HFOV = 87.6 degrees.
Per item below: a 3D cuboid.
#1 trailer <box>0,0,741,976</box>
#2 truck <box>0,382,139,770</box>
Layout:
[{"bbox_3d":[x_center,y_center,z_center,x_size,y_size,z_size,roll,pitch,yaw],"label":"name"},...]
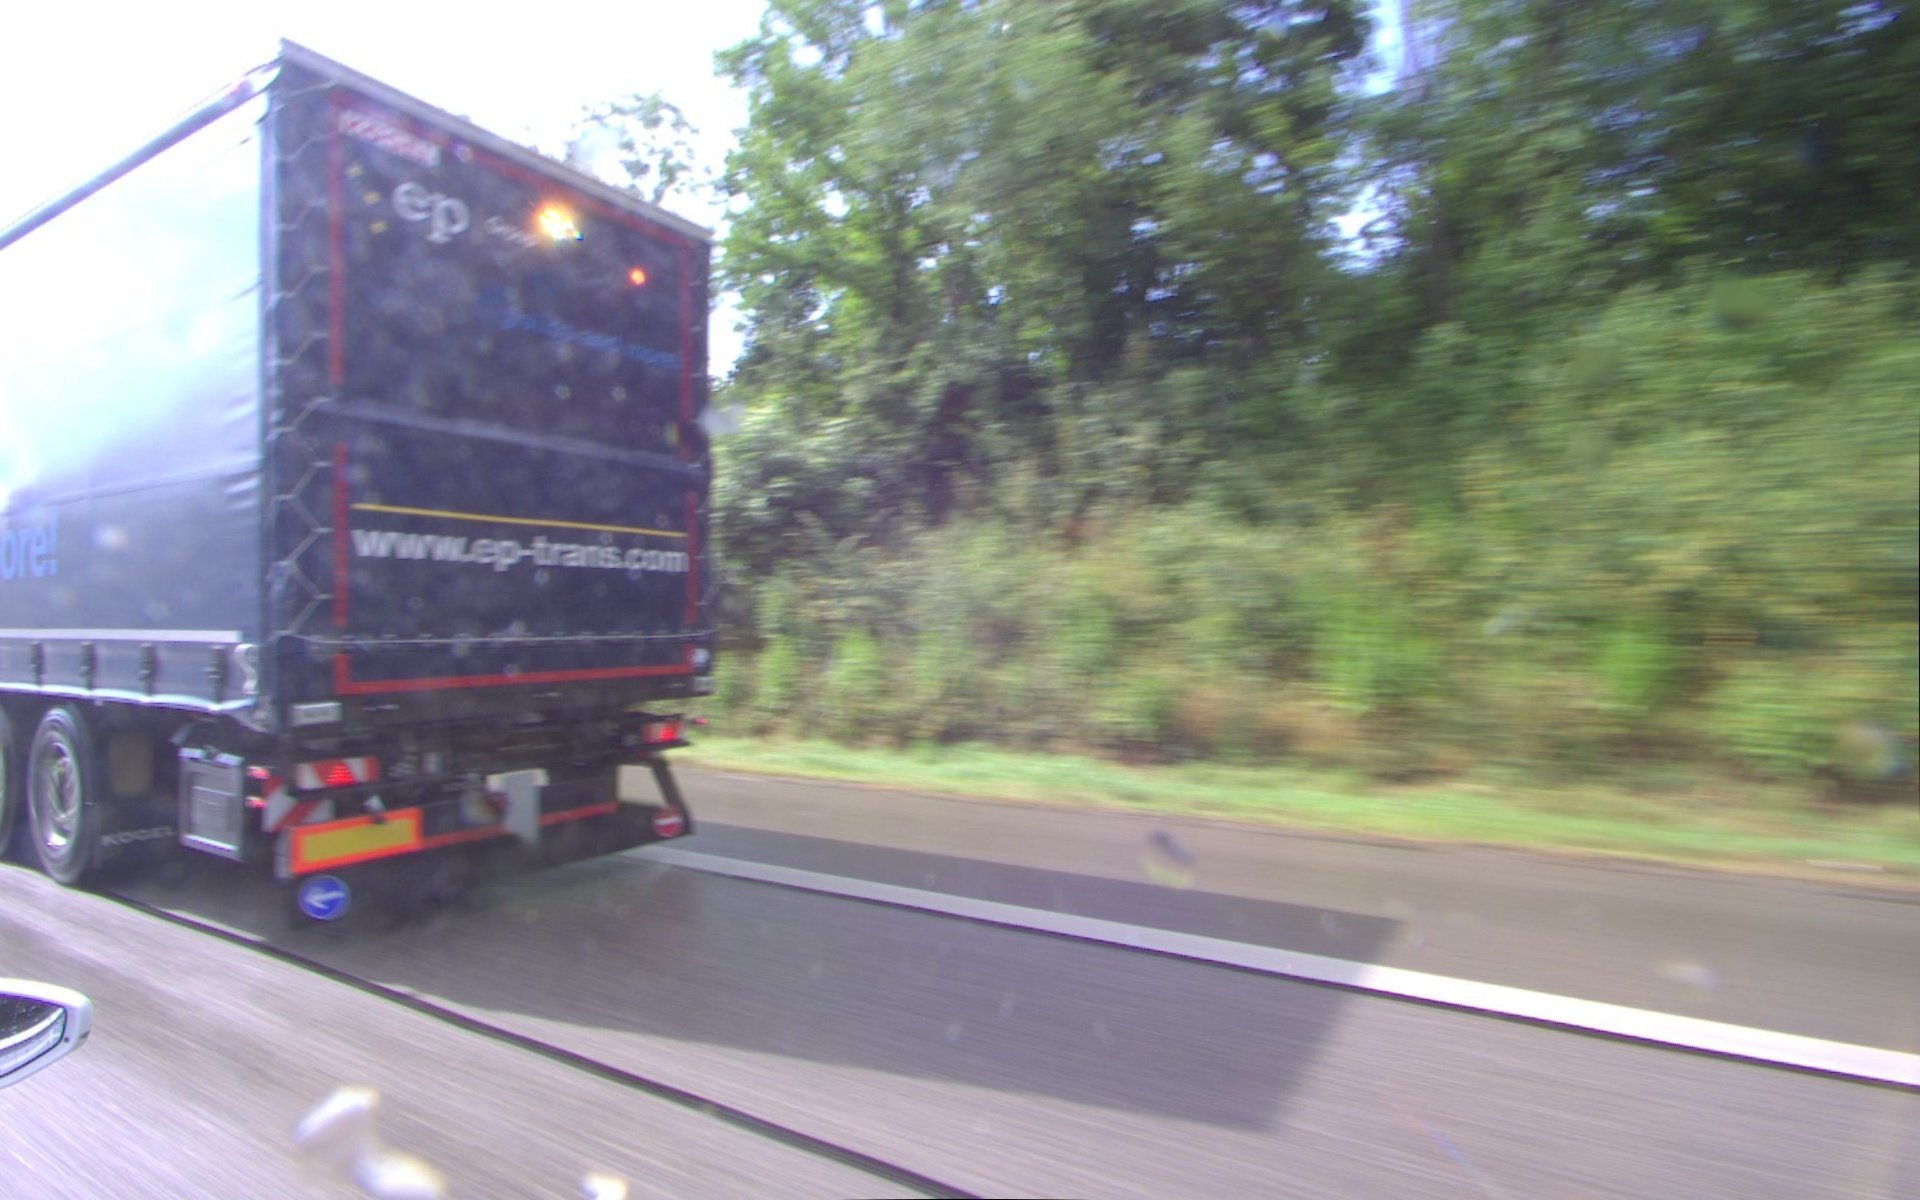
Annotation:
[{"bbox_3d":[-7.925,-0.307,8.949,13.864,4.046,2.630,-1,-2,32],"label":"trailer"},{"bbox_3d":[-13.108,-0.177,12.245,7.186,4.046,2.602,-1,-2,32],"label":"truck"}]
